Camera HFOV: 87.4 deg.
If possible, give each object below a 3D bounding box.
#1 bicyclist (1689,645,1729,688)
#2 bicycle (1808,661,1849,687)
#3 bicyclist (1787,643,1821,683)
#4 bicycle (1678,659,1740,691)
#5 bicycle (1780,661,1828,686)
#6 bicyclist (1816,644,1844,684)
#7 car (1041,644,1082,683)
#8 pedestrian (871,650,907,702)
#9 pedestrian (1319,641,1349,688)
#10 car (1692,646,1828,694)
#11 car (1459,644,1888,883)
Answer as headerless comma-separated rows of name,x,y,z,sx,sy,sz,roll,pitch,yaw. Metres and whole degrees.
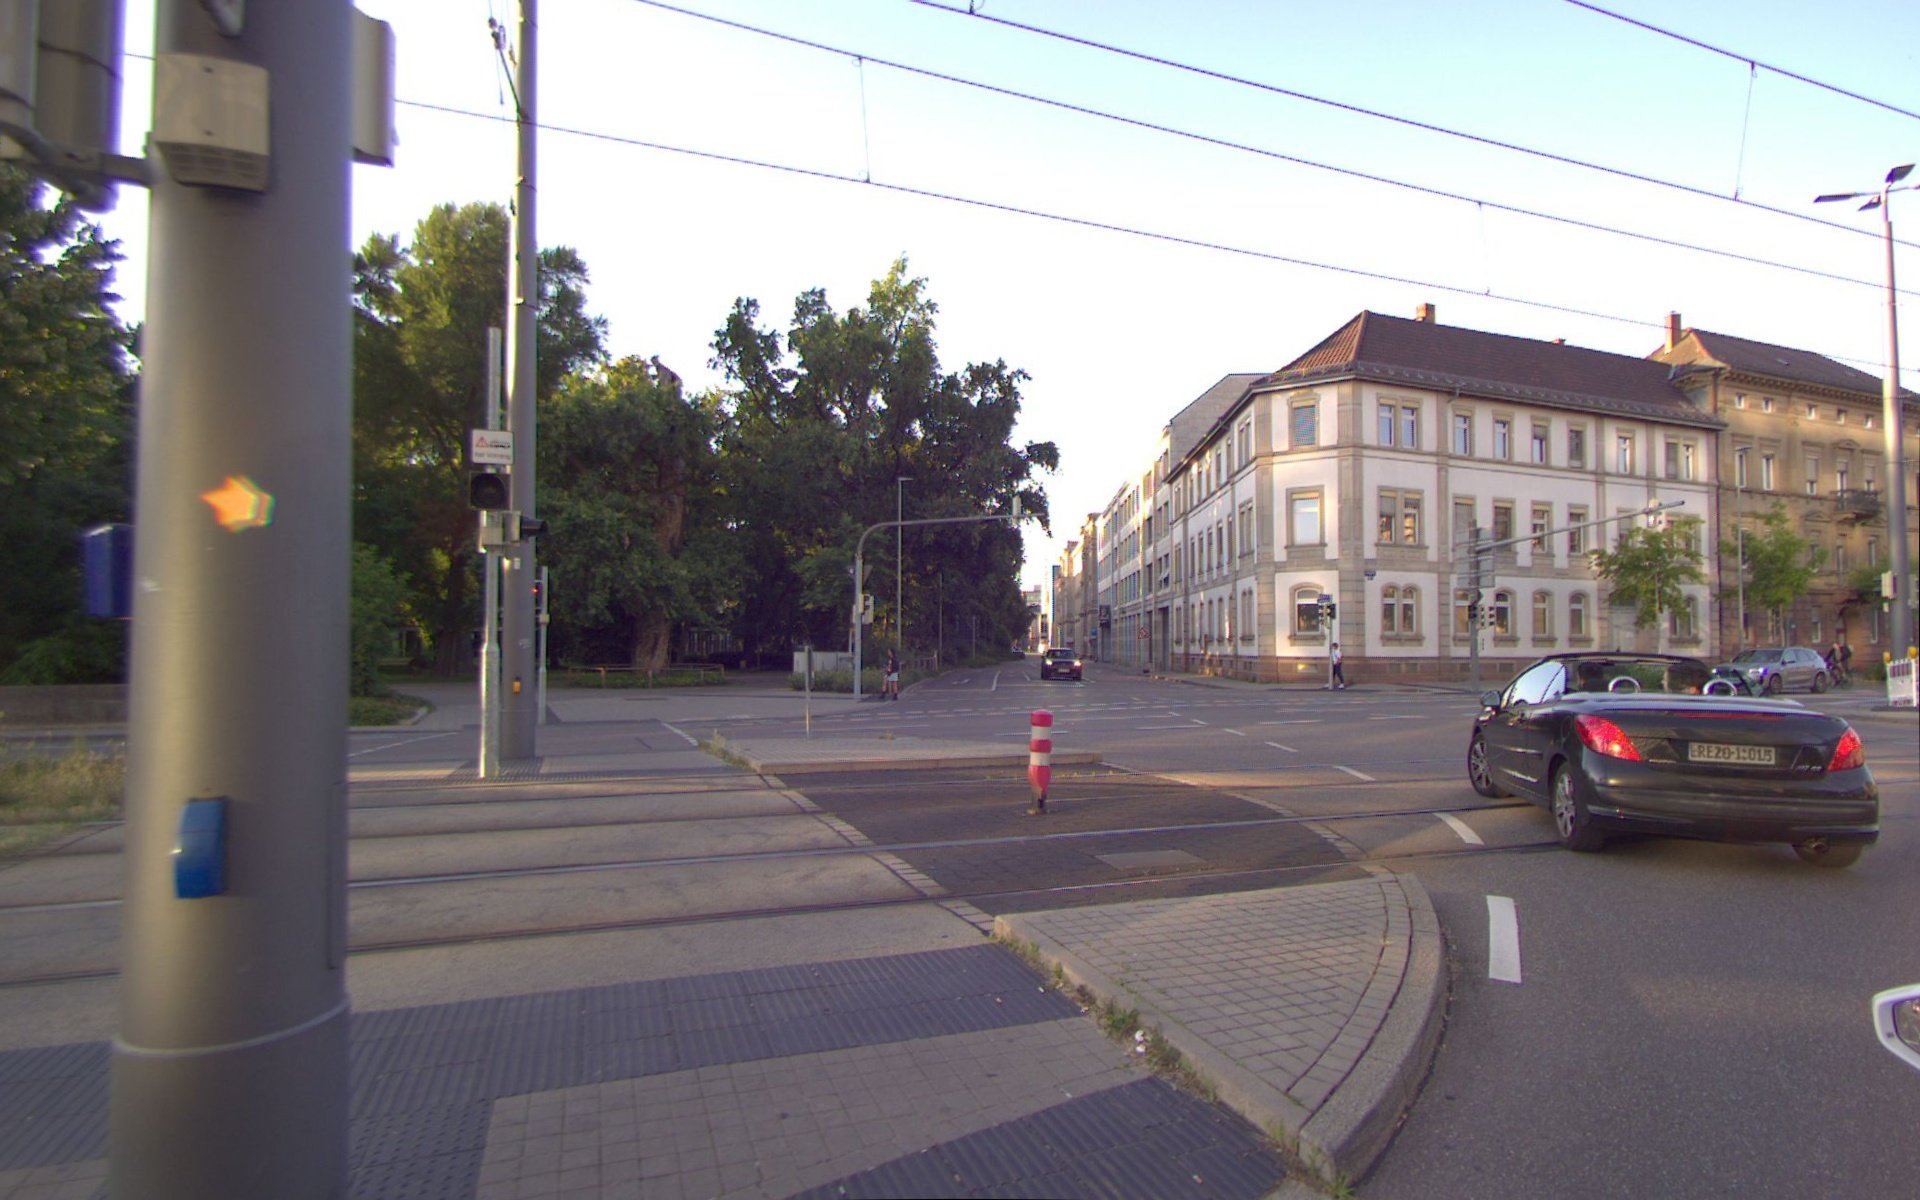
bicyclist,29.177,2.585,39.140,0.985,1.613,0.846,1,0,-22
bicycle,34.686,2.962,40.115,1.533,0.988,0.589,1,0,-22
bicyclist,34.342,2.553,40.864,0.780,1.592,0.771,1,0,-19
bicycle,29.174,2.915,39.141,2.379,1.139,0.846,1,0,-23
bicycle,34.334,2.969,40.866,1.614,0.957,0.771,1,0,-19
bicyclist,34.771,2.550,40.145,0.700,1.590,0.589,1,0,-22
car,4.746,2.904,46.536,1.754,1.576,4.002,1,0,7
pedestrian,-2.116,2.246,29.839,0.922,1.478,0.602,1,0,-22
pedestrian,14.265,2.457,38.287,0.698,1.738,0.803,1,0,-40
car,28.247,2.454,35.479,4.064,1.600,1.990,1,-4,-22
car,5.263,1.074,8.064,1.646,1.369,4.002,0,-3,18
